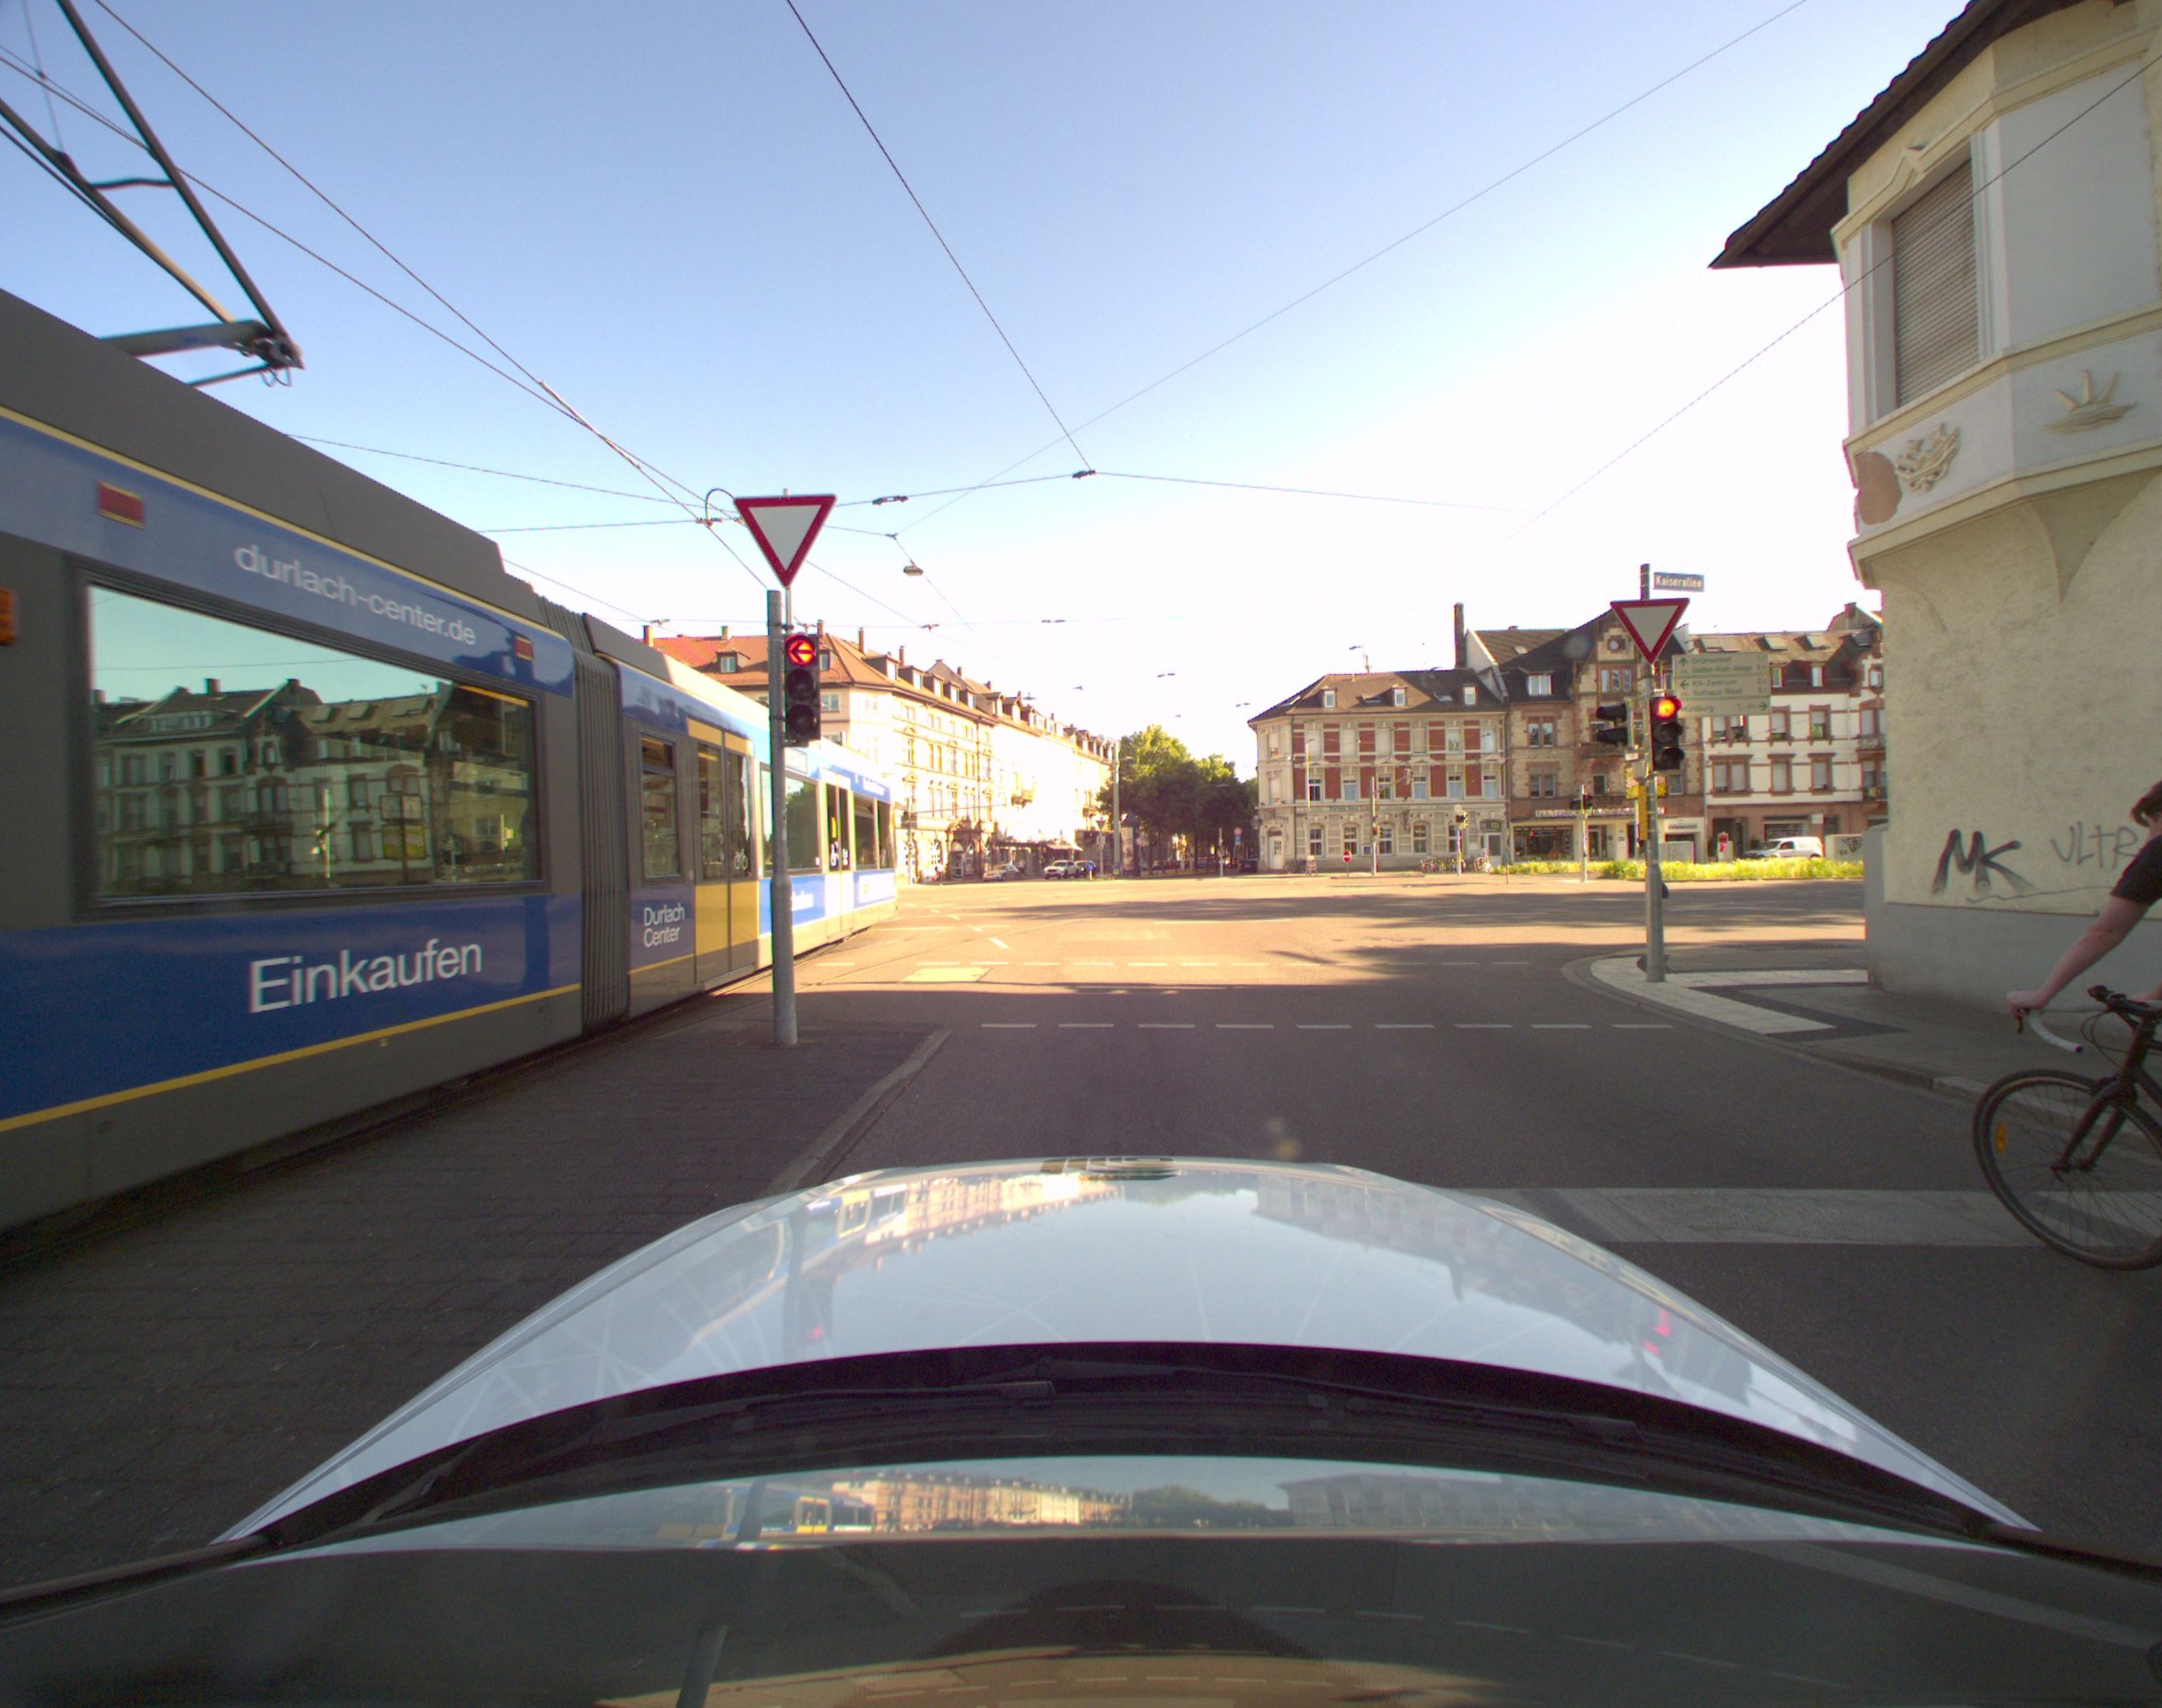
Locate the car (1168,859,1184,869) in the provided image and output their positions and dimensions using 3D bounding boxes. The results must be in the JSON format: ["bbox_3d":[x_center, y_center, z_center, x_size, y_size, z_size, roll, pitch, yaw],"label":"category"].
[{"bbox_3d":[15.840,1.721,136.151,1.750,1.549,4.411,-2,0,18],"label":"car"}]

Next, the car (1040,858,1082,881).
[{"bbox_3d":[-1.602,1.256,67.523,1.977,1.684,4.413,-2,0,20],"label":"car"}]

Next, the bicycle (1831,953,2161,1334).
[{"bbox_3d":[3.616,0.949,2.655,0.642,1.010,1.930,-2,0,4],"label":"bicycle"}]

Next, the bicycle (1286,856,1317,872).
[{"bbox_3d":[15.504,0.721,57.174,2.081,1.124,0.366,0,-1,-3],"label":"bicycle"}]

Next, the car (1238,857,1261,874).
[{"bbox_3d":[17.021,1.139,82.200,1.978,1.585,4.017,-2,0,16],"label":"car"}]

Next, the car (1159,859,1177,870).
[{"bbox_3d":[13.922,1.702,130.316,1.822,1.552,4.412,-2,0,19],"label":"car"}]

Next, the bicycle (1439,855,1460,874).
[{"bbox_3d":[23.862,0.666,52.769,0.615,1.143,2.178,-2,0,7],"label":"bicycle"}]

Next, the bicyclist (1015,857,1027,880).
[{"bbox_3d":[-4.807,1.138,65.324,0.674,1.820,1.075,-2,0,14],"label":"bicyclist"}]

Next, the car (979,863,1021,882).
[{"bbox_3d":[-6.677,1.529,67.366,1.883,1.455,4.020,-2,0,20],"label":"car"}]

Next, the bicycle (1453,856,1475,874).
[{"bbox_3d":[24.783,0.704,52.673,0.615,1.143,2.178,-2,0,7],"label":"bicycle"}]

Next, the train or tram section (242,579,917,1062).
[{"bbox_3d":[-4.890,-0.274,12.016,2.763,3.499,12.021,-1,0,-2],"label":"train or tram section"}]

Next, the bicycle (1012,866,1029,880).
[{"bbox_3d":[-4.811,1.519,65.280,0.675,1.066,2.133,-2,0,14],"label":"bicycle"}]

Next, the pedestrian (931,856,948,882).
[{"bbox_3d":[-9.730,1.049,56.074,1.044,1.744,0.807,-1,0,-4],"label":"pedestrian"}]

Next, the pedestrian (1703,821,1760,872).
[{"bbox_3d":[27.116,-0.314,33.983,1.314,2.044,1.307,-2,0,1],"label":"pedestrian"}]

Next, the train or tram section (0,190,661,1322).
[{"bbox_3d":[-4.756,-0.286,1.943,2.804,3.499,8.465,-1,0,2],"label":"train or tram section"}]

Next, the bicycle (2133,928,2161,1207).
[{"bbox_3d":[4.537,0.858,2.430,0.516,1.116,1.815,-2,0,4],"label":"bicycle"}]

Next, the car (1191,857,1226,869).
[{"bbox_3d":[17.998,1.309,115.147,4.335,1.612,2.012,-2,0,28],"label":"car"}]

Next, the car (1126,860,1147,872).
[{"bbox_3d":[7.541,1.671,110.965,1.978,1.486,4.017,-2,0,16],"label":"car"}]

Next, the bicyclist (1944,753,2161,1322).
[{"bbox_3d":[3.601,0.562,2.578,0.559,1.754,1.102,-2,0,4],"label":"bicyclist"}]

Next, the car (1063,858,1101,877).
[{"bbox_3d":[0.123,1.223,74.000,1.977,1.612,4.413,-2,0,20],"label":"car"}]

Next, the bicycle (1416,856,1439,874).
[{"bbox_3d":[22.504,0.696,52.970,0.802,1.143,2.178,-2,0,7],"label":"bicycle"}]

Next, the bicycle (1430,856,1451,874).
[{"bbox_3d":[23.283,0.686,52.821,0.615,1.143,2.178,-2,0,7],"label":"bicycle"}]

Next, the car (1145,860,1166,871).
[{"bbox_3d":[11.263,1.733,122.585,1.977,1.612,4.413,-2,0,20],"label":"car"}]

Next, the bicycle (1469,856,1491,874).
[{"bbox_3d":[25.760,0.683,52.583,0.606,1.136,2.139,-2,0,7],"label":"bicycle"}]

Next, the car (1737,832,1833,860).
[{"bbox_3d":[45.362,-0.495,52.538,4.317,1.640,2.152,-2,0,1],"label":"car"}]

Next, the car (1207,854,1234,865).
[{"bbox_3d":[22.840,0.968,133.286,3.948,1.706,2.013,-2,0,32],"label":"car"}]
